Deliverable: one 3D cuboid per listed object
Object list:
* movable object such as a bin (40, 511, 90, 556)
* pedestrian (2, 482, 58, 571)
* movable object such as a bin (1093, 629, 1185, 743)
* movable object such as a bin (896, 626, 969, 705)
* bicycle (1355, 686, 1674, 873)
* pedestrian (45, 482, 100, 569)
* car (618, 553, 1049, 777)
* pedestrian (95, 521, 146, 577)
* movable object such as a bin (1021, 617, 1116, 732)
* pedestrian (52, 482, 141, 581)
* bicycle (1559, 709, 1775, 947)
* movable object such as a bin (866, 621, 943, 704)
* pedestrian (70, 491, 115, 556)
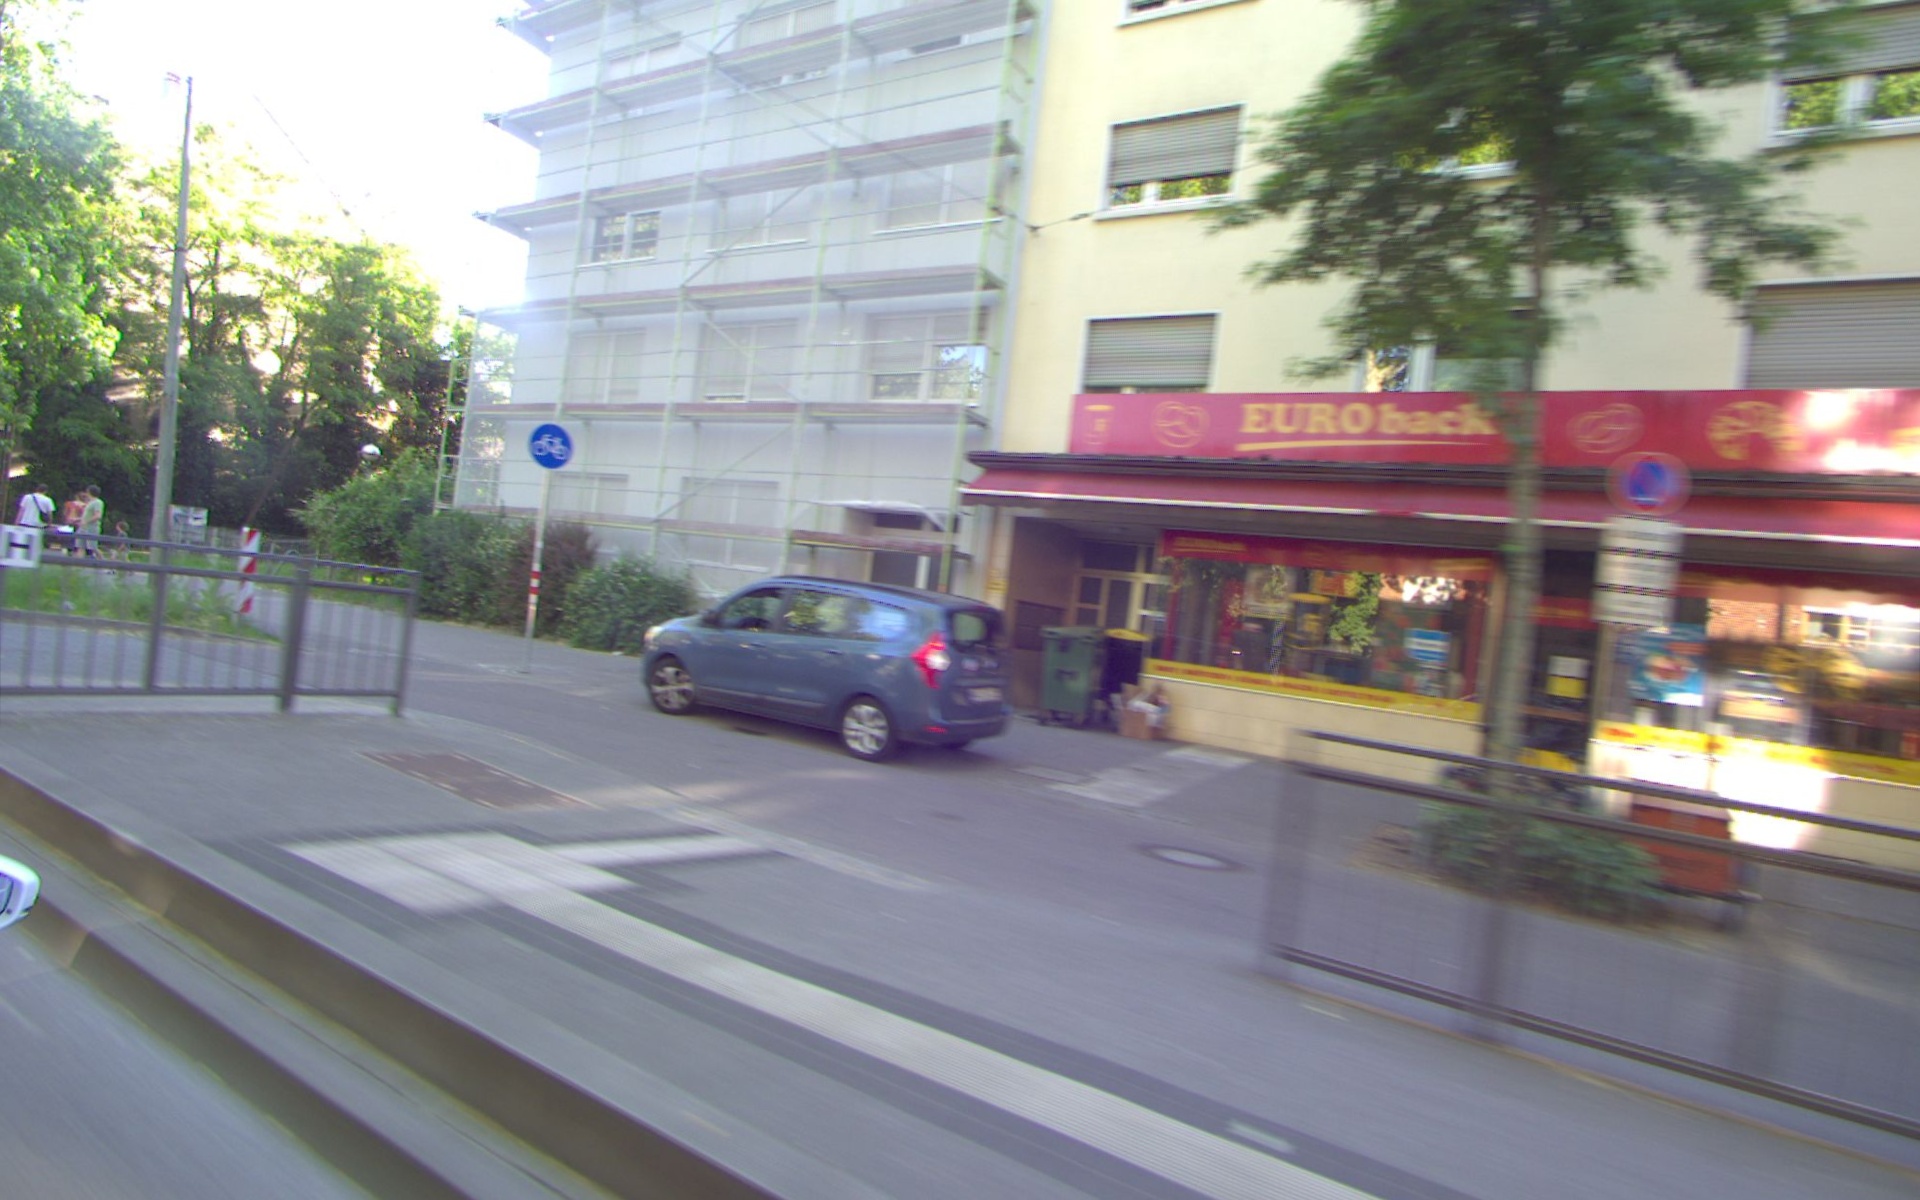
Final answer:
[{"bbox_3d":[-26.229,-1.952,29.500,0.939,1.139,0.667,7,-1,24],"label":"movable object such as a bin"},{"bbox_3d":[-20.143,-1.599,21.785,0.841,1.816,0.724,7,2,42],"label":"pedestrian"},{"bbox_3d":[2.393,1.126,13.391,0.810,1.367,0.924,7,1,29],"label":"movable object such as a bin"},{"bbox_3d":[-0.424,1.011,15.699,0.685,1.125,0.882,7,1,29],"label":"movable object such as a bin"},{"bbox_3d":[4.624,1.482,8.505,2.169,1.225,0.685,6,1,3],"label":"bicycle"},{"bbox_3d":[-19.761,-1.653,22.405,0.954,1.816,0.724,7,2,42],"label":"pedestrian"},{"bbox_3d":[-1.461,0.568,10.807,4.369,1.642,1.763,7,1,33],"label":"car"},{"bbox_3d":[-18.489,-1.122,22.148,0.651,1.131,0.673,6,-1,42],"label":"pedestrian"},{"bbox_3d":[1.470,0.990,13.572,0.810,1.415,1.000,7,1,29],"label":"movable object such as a bin"},{"bbox_3d":[-18.480,-1.448,21.546,0.979,1.907,0.871,7,-1,14],"label":"pedestrian"},{"bbox_3d":[5.037,1.524,7.350,1.012,1.225,2.206,7,1,31],"label":"bicycle"},{"bbox_3d":[-0.823,0.933,15.067,0.685,1.125,0.882,7,1,29],"label":"movable object such as a bin"},{"bbox_3d":[-25.182,-2.208,29.198,0.544,1.746,0.620,7,-1,16],"label":"pedestrian"}]
